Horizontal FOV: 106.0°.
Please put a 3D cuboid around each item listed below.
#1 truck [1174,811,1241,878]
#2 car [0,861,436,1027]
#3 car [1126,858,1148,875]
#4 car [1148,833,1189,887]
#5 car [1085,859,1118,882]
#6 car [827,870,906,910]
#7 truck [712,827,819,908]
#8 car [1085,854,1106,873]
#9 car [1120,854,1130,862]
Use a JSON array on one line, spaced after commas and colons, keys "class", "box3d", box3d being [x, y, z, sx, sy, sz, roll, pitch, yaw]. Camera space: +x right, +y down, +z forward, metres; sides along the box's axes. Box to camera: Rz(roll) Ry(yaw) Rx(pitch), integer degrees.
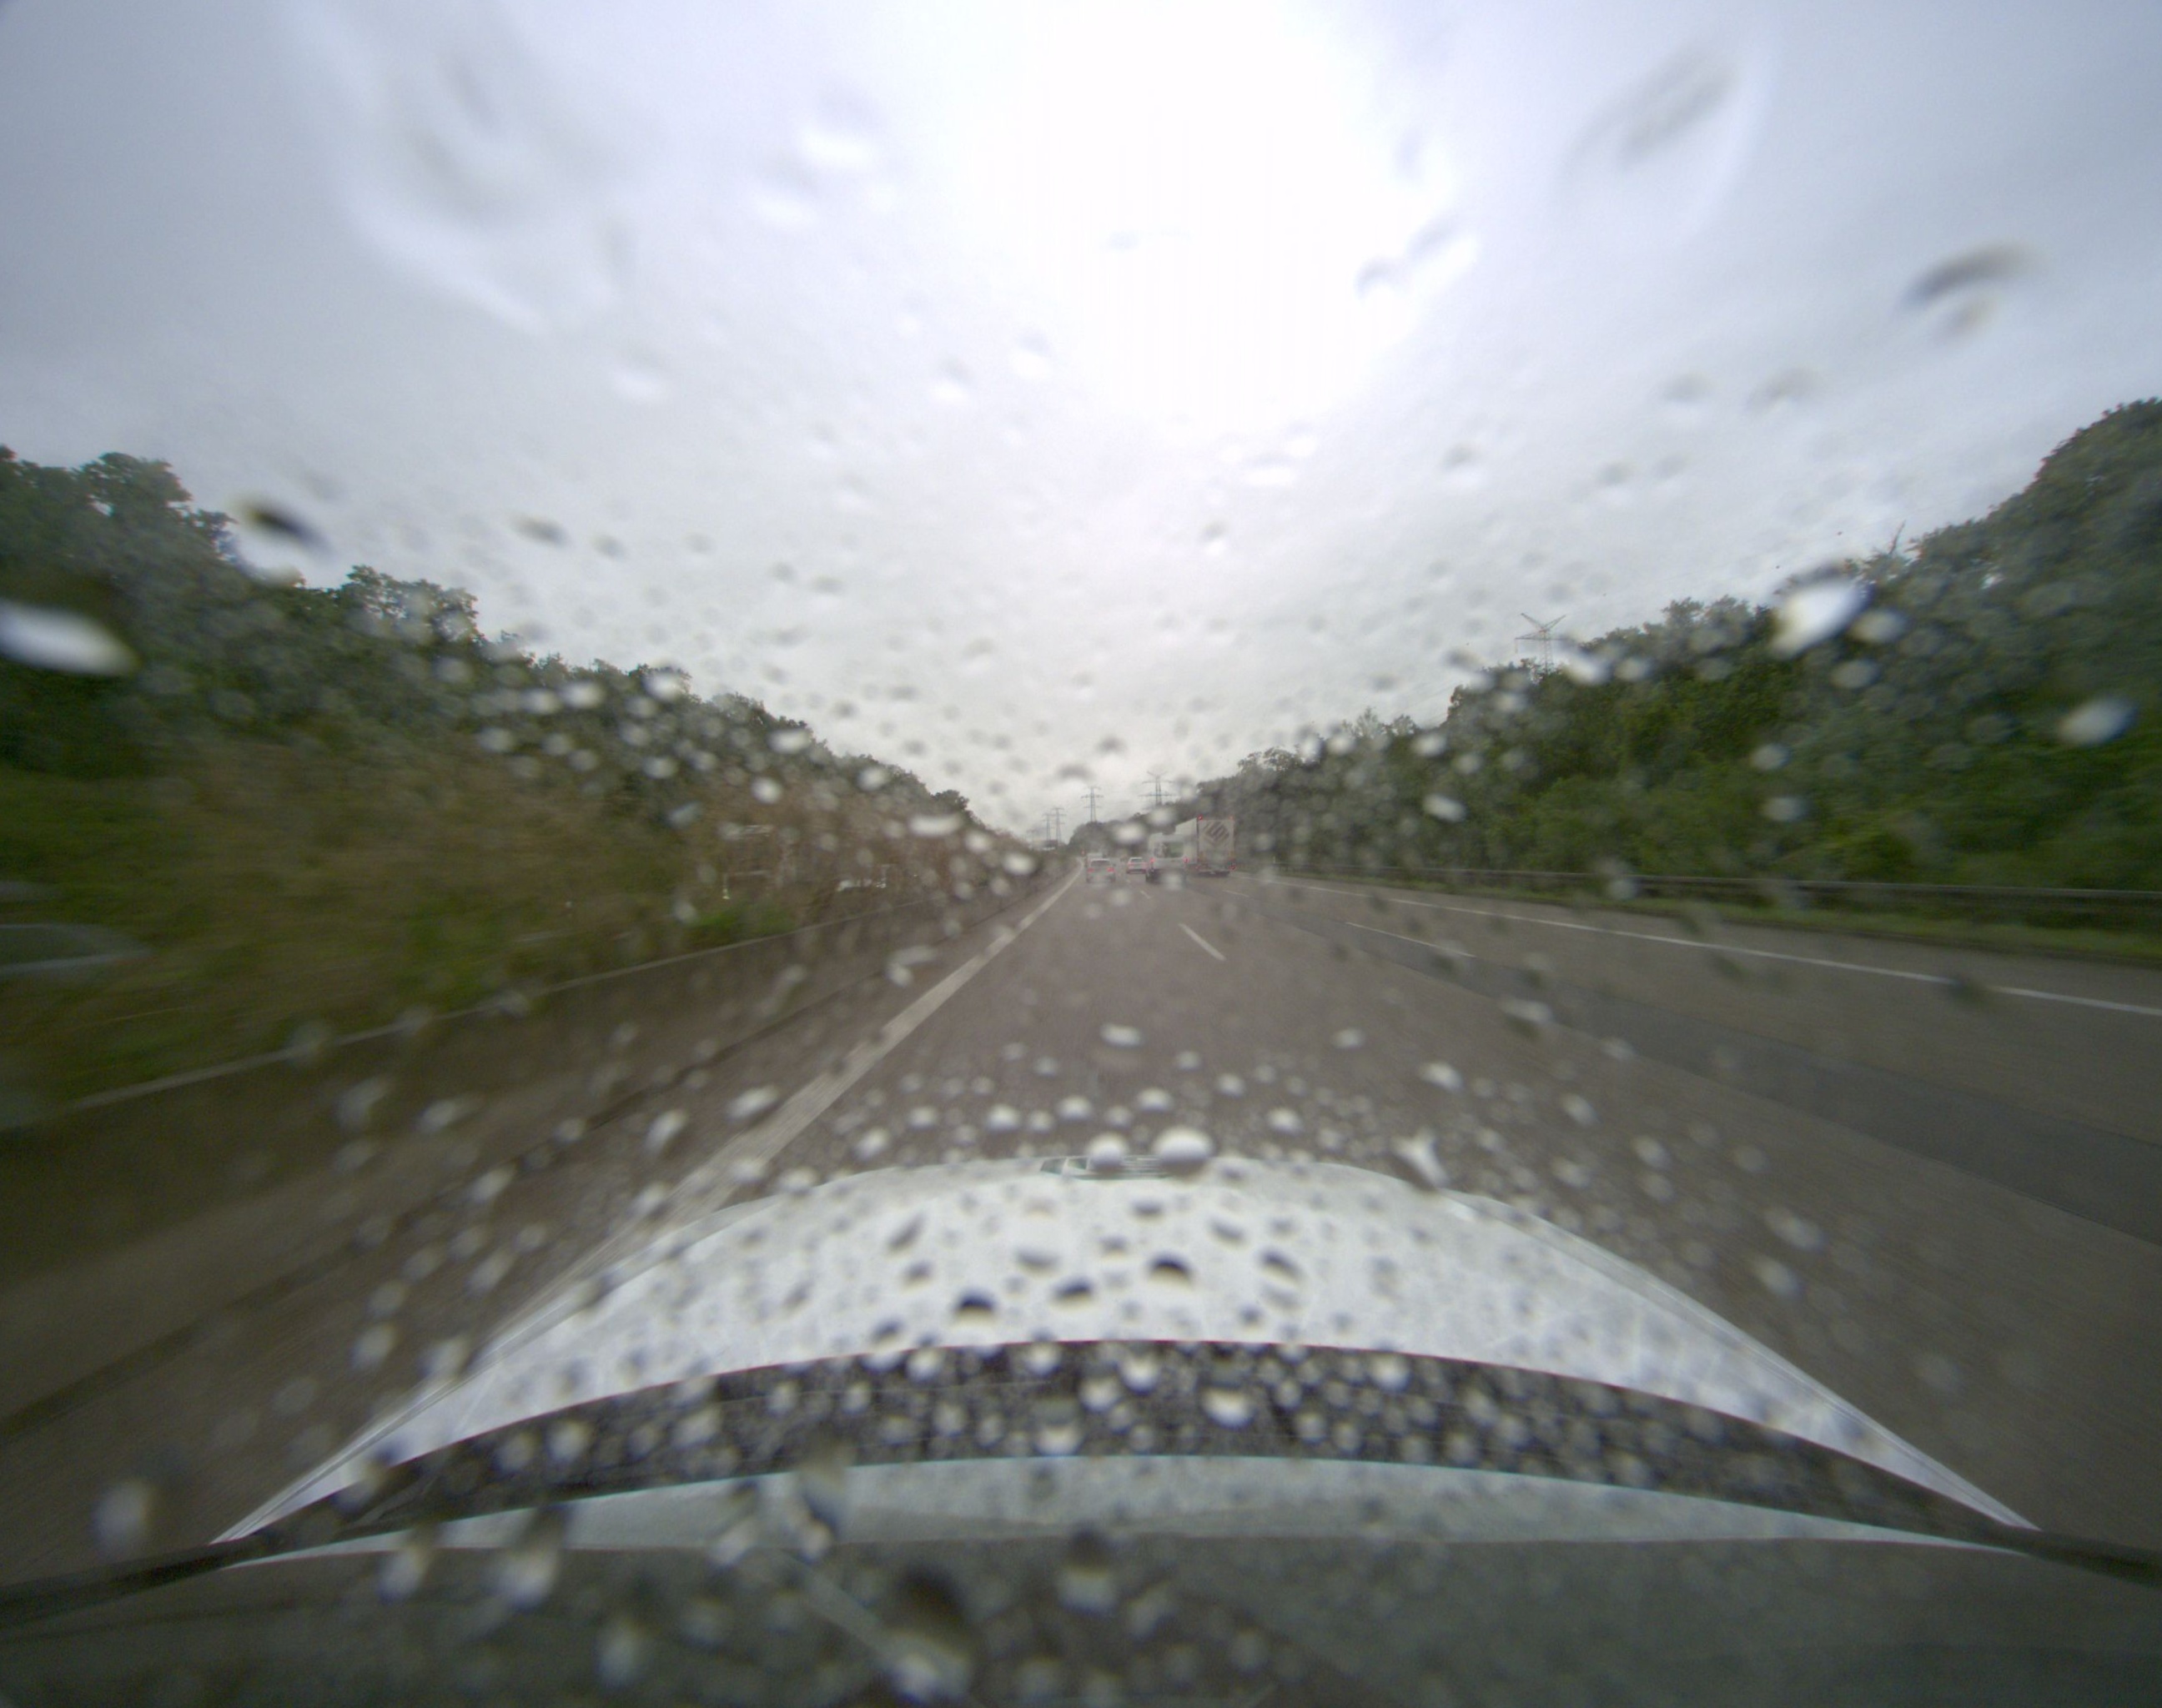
[{"class": "truck", "box3d": [9.158, -0.552, 60.651, 3.588, 4.332, 13.211, -2, -1, 4]}, {"class": "car", "box3d": [-11.425, 0.985, 10.912, 1.988, 1.723, 4.493, -1, 0, -1]}, {"class": "car", "box3d": [4.916, 1.050, 71.570, 1.848, 1.422, 4.005, -1, 0, 5]}, {"class": "car", "box3d": [4.829, 0.331, 45.441, 1.985, 2.864, 4.004, -2, 0, 3]}, {"class": "car", "box3d": [1.283, 0.974, 49.526, 1.859, 1.288, 4.002, -2, 0, 2]}, {"class": "car", "box3d": [-7.677, 1.263, 29.428, 1.599, 1.237, 3.484, -2, 0, 5]}, {"class": "truck", "box3d": [-14.871, 0.612, 38.755, 2.981, 3.467, 4.771, -2, 0, 2]}, {"class": "car", "box3d": [1.457, 0.960, 80.419, 1.838, 1.772, 4.004, -2, 0, 4]}, {"class": "car", "box3d": [9.337, 0.768, 171.206, 1.985, 1.486, 4.003, -4, -1, 3]}]
